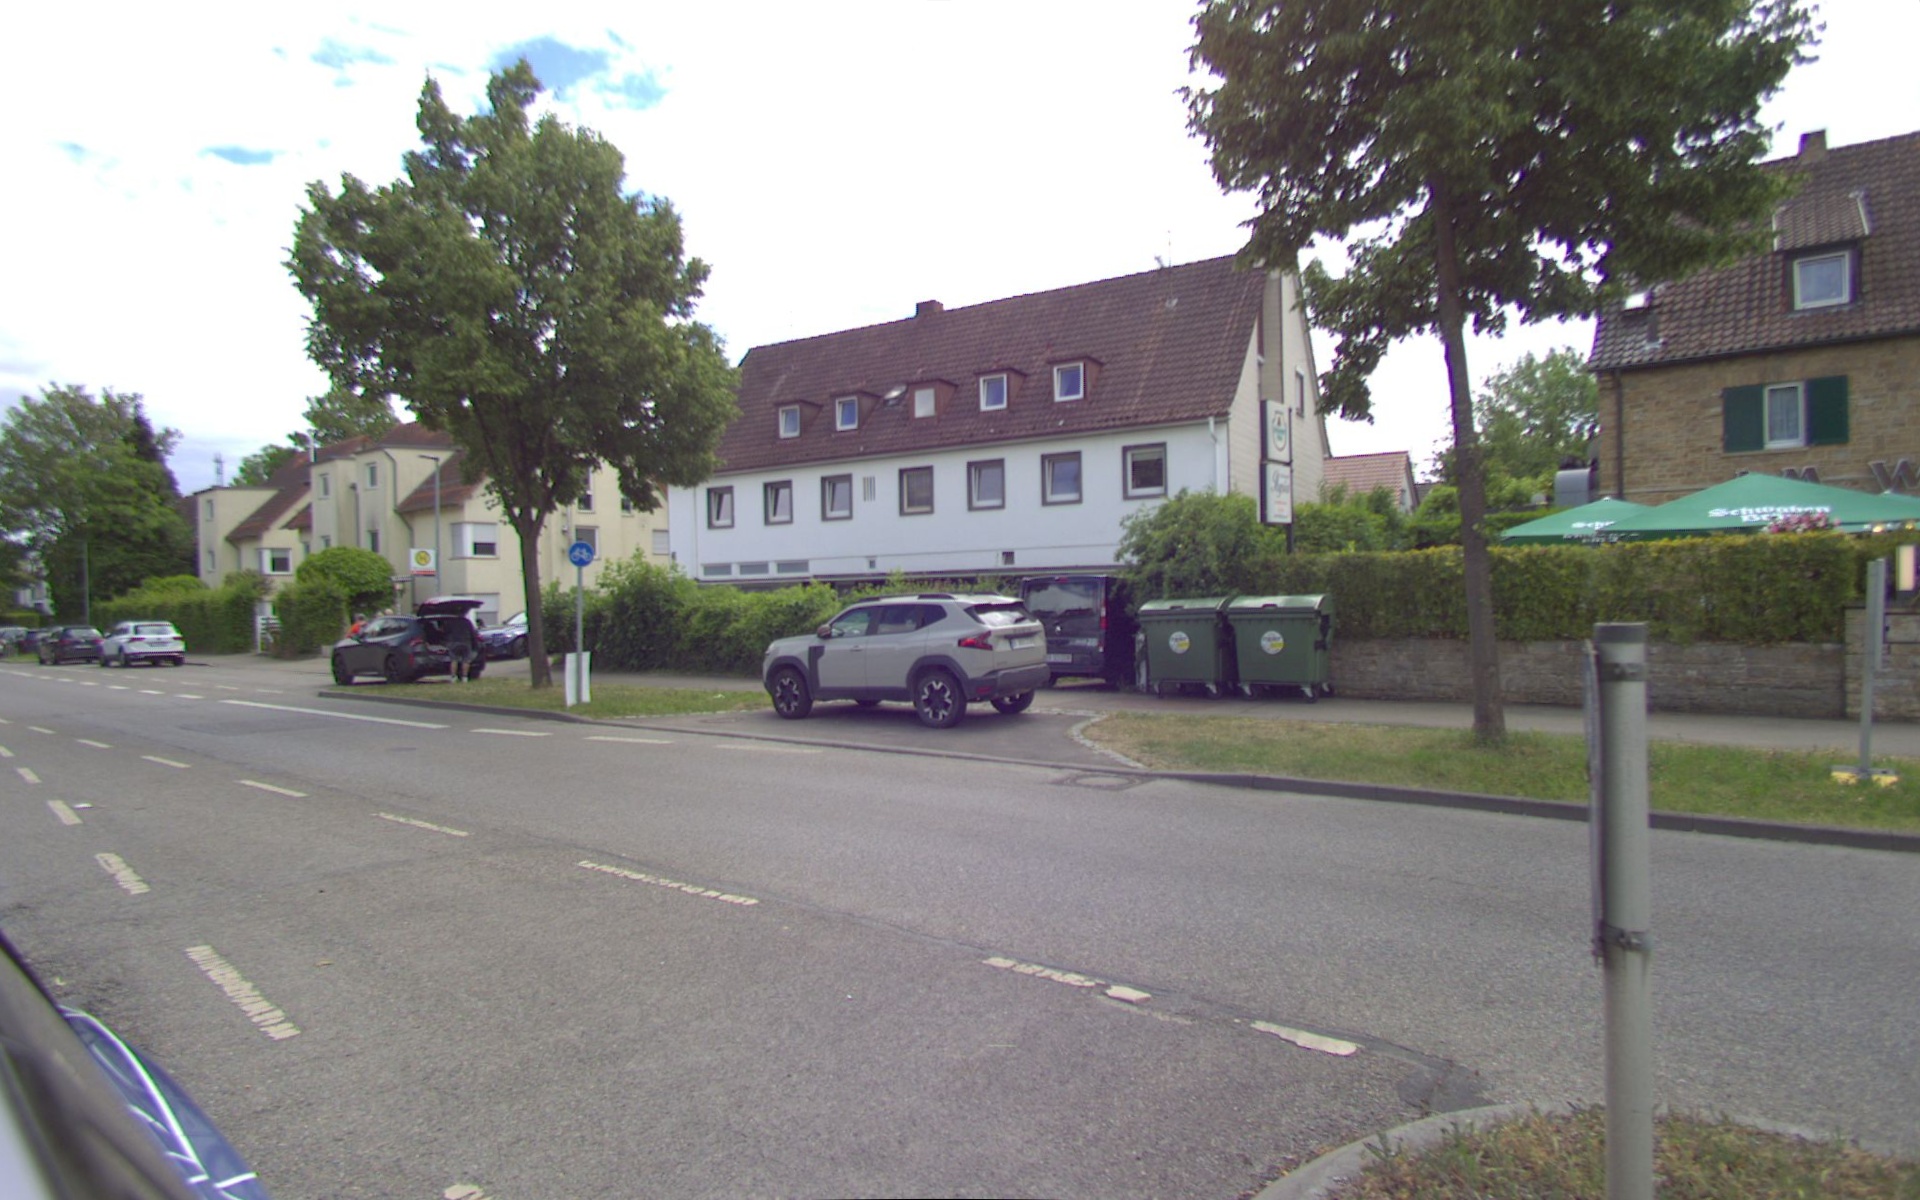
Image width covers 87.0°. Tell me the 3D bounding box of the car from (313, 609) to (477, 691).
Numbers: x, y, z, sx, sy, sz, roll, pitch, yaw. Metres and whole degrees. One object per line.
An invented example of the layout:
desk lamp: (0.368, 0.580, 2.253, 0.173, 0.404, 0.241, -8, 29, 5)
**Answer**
car: (-13.508, 1.156, 24.085, 4.557, 1.738, 1.708, -2, -1, 37)

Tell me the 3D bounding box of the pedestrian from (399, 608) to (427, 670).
pedestrian: (-16.342, 1.168, 30.225, 0.671, 1.820, 0.498, -2, -1, 39)

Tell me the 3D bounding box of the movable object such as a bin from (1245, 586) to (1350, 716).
movable object such as a bin: (4.665, 0.672, 13.965, 0.996, 1.663, 1.194, -2, 1, 37)

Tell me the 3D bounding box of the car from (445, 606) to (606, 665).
car: (-13.457, 1.050, 31.639, 2.023, 1.565, 4.494, -2, 1, 22)

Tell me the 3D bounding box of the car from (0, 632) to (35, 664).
car: (-50.340, 2.507, 53.432, 3.906, 1.625, 1.701, -2, -1, 39)

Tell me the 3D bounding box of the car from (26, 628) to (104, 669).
car: (-36.536, 1.970, 41.281, 4.267, 1.563, 1.661, -2, -1, 38)

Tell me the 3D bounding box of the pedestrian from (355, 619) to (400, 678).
pedestrian: (-17.557, 1.453, 30.510, 0.879, 1.675, 0.781, -2, 3, 33)

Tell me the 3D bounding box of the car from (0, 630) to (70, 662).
car: (-45.956, 2.265, 50.039, 4.882, 1.496, 1.975, -2, -2, 37)

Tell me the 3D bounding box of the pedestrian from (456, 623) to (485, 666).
pedestrian: (-15.471, 1.414, 31.996, 0.705, 1.323, 0.581, -2, -1, 41)

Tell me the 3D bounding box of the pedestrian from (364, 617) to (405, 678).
pedestrian: (-16.605, 1.361, 29.208, 0.591, 1.675, 0.779, -2, 2, 38)

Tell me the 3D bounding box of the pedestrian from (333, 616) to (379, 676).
pedestrian: (-17.609, 1.328, 29.506, 0.752, 1.675, 0.781, -2, 3, 33)

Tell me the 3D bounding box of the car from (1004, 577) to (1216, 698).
car: (2.770, 0.605, 18.067, 1.998, 1.906, 3.947, -2, -1, 39)

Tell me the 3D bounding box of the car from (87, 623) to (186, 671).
car: (-30.530, 1.734, 37.483, 4.578, 1.646, 1.804, -2, -2, 37)

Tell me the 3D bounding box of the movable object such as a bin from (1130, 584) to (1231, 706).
movable object such as a bin: (3.253, 0.630, 14.889, 0.996, 1.663, 1.194, -2, 1, 37)

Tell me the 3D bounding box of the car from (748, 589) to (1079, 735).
car: (-0.719, 0.761, 13.704, 4.287, 1.666, 1.843, -2, -1, 37)

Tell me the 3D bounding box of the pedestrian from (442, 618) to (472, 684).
pedestrian: (-11.336, 1.137, 22.809, 0.545, 1.447, 0.497, -1, -1, -19)
